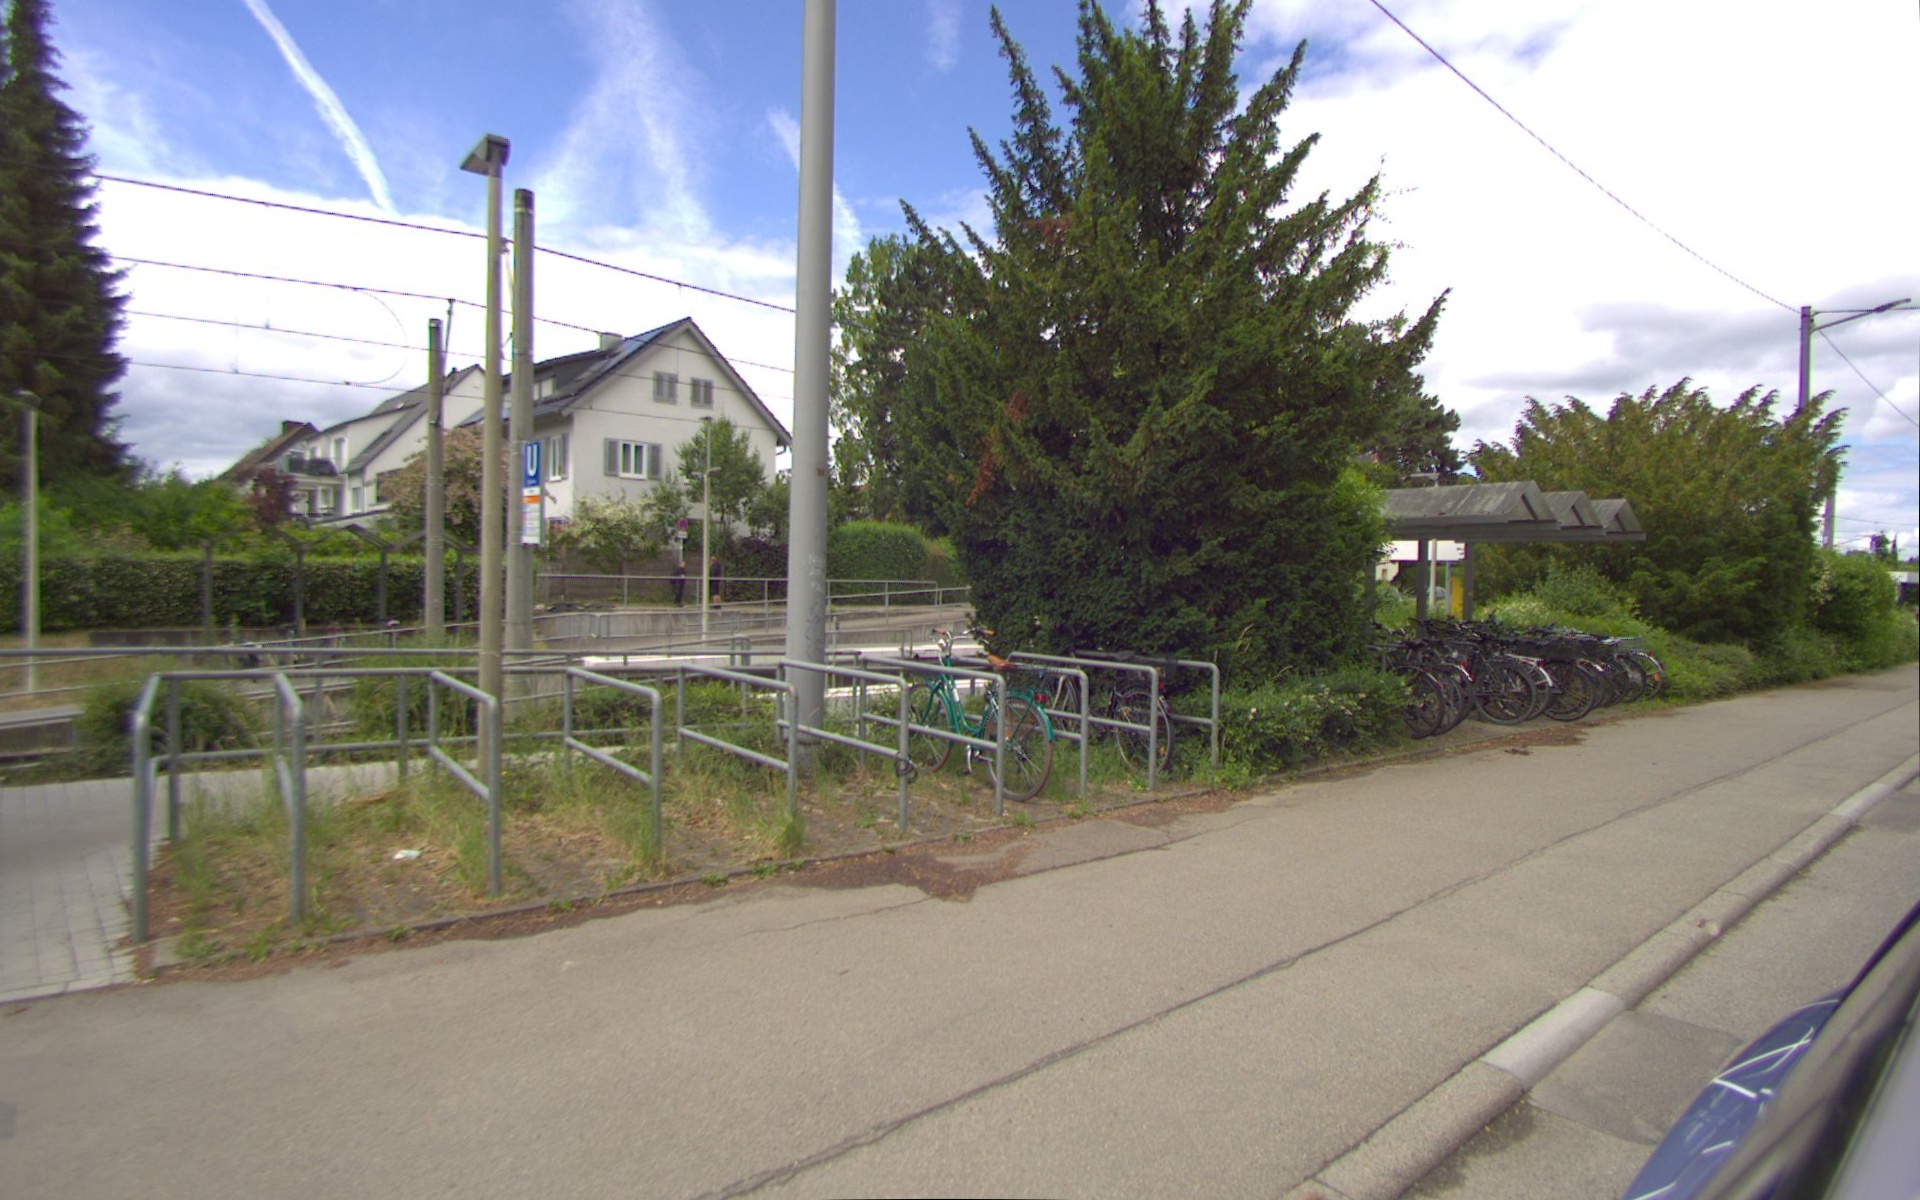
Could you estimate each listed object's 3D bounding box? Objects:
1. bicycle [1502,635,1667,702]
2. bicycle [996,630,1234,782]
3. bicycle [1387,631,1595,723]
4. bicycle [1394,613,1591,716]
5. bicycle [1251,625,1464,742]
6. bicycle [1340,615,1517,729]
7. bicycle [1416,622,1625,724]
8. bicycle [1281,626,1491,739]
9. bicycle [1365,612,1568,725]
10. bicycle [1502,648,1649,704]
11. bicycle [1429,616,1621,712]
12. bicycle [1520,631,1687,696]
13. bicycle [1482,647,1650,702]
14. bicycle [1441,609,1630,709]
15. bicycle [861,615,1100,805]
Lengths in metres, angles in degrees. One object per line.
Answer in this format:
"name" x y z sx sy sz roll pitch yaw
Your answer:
"bicycle" 8.977 0.959 14.623 0.443 0.837 1.993 0 0 -41
"bicycle" 1.186 0.788 8.249 0.549 1.061 2.093 0 -1 -38
"bicycle" 6.331 0.888 12.200 0.444 0.950 2.202 0 0 -43
"bicycle" 6.879 0.796 13.197 0.444 1.060 2.204 0 4 -42
"bicycle" 4.095 0.820 10.596 0.443 1.060 2.090 0 0 -43
"bicycle" 5.245 0.757 11.498 0.441 1.060 2.100 0 2 -20
"bicycle" 6.794 0.846 12.389 0.444 1.060 2.203 0 1 -42
"bicycle" 4.534 0.835 10.922 0.443 1.060 2.090 0 0 -43
"bicycle" 5.906 0.754 11.915 0.522 1.165 2.090 0 1 -43
"bicycle" 8.304 1.010 13.702 1.673 0.647 0.327 0 0 39
"bicycle" 7.346 0.796 13.284 0.443 1.060 2.208 0 2 -35
"bicycle" 9.484 0.908 15.003 0.443 0.837 2.083 0 0 -35
"bicycle" 8.362 1.008 14.041 1.977 0.647 0.327 0 0 39
"bicycle" 7.647 0.737 13.578 0.443 1.164 2.208 0 1 -35
"bicycle" 0.070 0.716 7.430 0.537 1.094 2.094 0 2 -38
